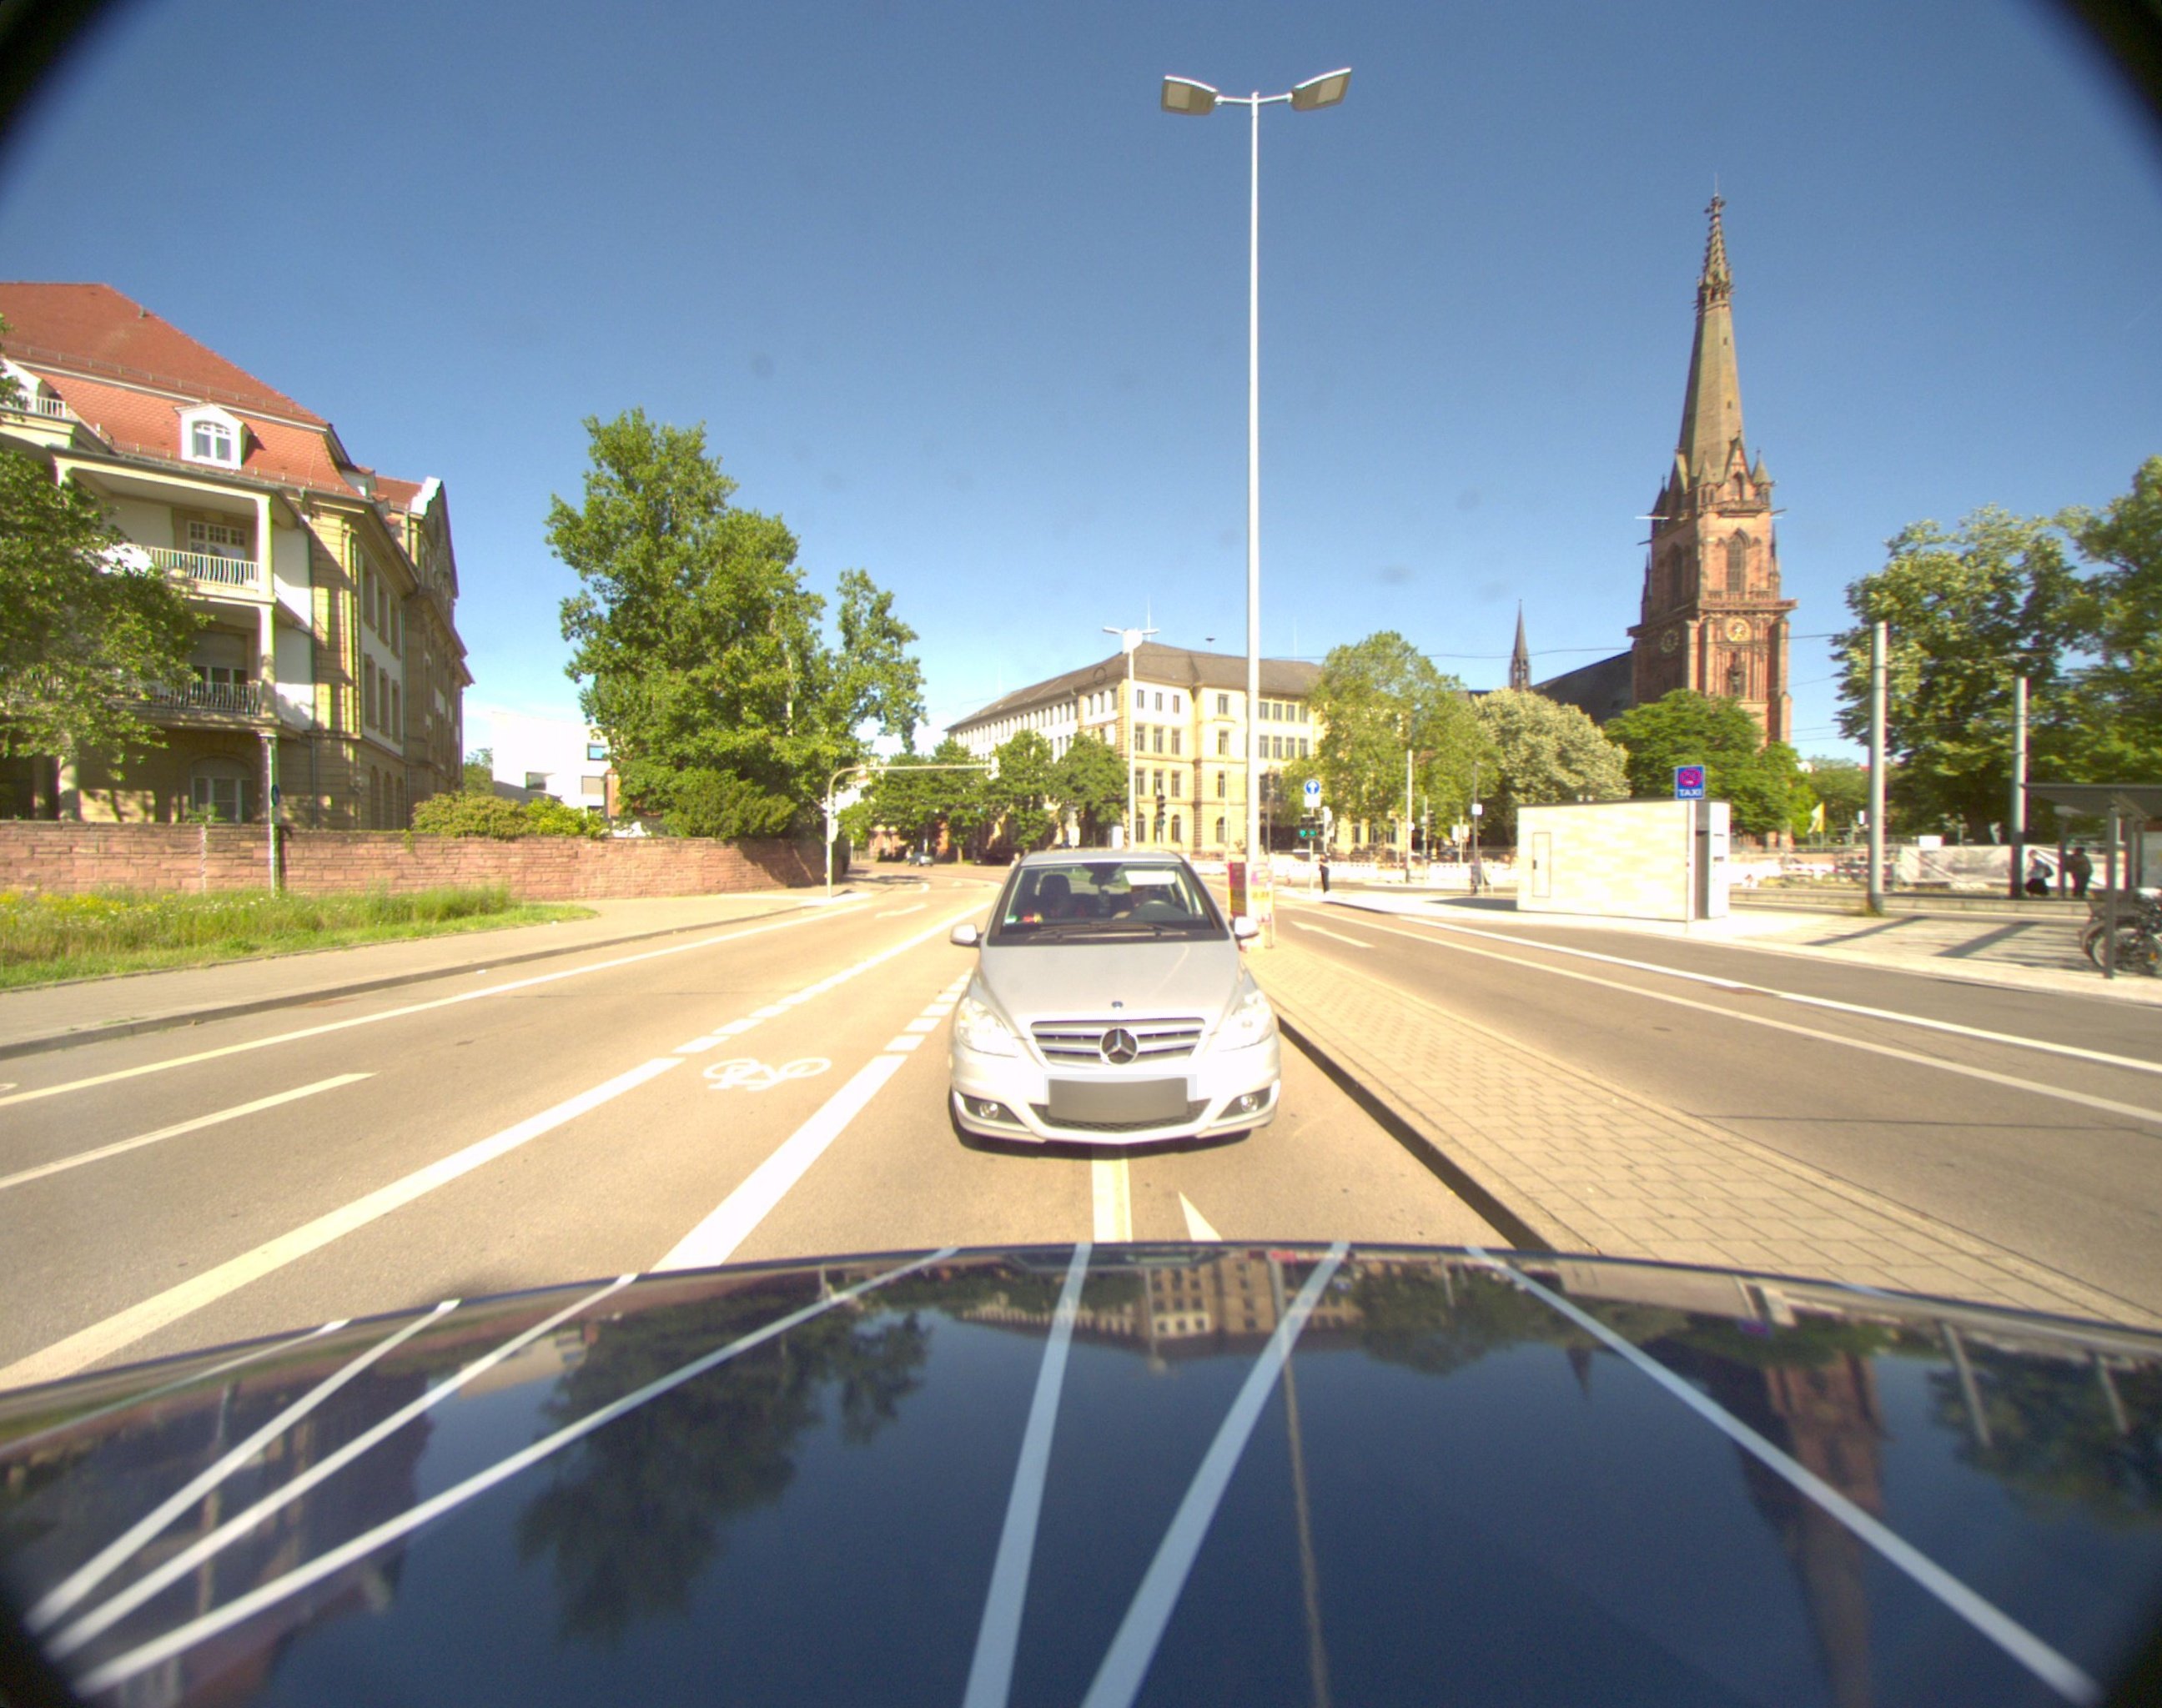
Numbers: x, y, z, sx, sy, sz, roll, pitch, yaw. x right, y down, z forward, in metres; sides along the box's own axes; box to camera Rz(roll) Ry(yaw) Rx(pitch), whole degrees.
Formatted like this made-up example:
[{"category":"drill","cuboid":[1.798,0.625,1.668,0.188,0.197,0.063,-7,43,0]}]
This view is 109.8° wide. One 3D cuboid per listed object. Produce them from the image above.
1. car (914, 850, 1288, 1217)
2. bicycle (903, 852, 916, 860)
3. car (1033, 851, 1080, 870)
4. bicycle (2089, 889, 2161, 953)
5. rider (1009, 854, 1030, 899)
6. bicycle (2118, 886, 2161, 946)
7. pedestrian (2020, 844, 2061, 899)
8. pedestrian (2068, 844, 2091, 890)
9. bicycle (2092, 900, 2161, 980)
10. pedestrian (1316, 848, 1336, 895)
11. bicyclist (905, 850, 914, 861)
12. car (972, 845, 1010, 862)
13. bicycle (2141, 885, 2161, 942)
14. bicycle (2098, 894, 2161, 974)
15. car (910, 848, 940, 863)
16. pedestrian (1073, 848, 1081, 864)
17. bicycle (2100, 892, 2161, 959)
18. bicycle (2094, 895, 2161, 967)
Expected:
[{"category":"car","cuboid":[0.063,0.824,5.494,1.706,1.657,3.913,-1,1,-1]},{"category":"bicycle","cuboid":[-22.266,0.256,98.765,1.830,0.985,0.735,0,1,44]},{"category":"car","cuboid":[-2.144,0.512,64.141,1.798,1.490,4.563,1,1,-34]},{"category":"bicycle","cuboid":[17.914,1.124,12.436,0.458,1.003,1.667,-1,1,-33]},{"category":"rider","cuboid":[-2.235,0.813,27.762,0.658,1.610,0.989,-1,1,1]},{"category":"bicycle","cuboid":[19.127,1.095,12.957,0.458,1.003,1.667,-1,1,-33]},{"category":"pedestrian","cuboid":[31.920,0.565,25.268,0.980,1.769,0.801,-1,1,-37]},{"category":"pedestrian","cuboid":[37.570,0.494,28.587,0.404,1.711,0.419,1,1,38]},{"category":"bicycle","cuboid":[14.699,1.168,9.973,0.458,1.003,1.667,-1,1,-33]},{"category":"pedestrian","cuboid":[9.622,0.674,29.858,0.693,1.844,0.679,0,1,12]},{"category":"bicyclist","cuboid":[-22.288,0.183,98.786,0.893,1.377,0.735,1,1,44]},{"category":"car","cuboid":[-10.732,-0.039,90.768,1.994,2.002,4.721,0,1,32]},{"category":"bicycle","cuboid":[19.894,1.072,13.208,0.458,1.003,1.667,-1,1,-33]},{"category":"bicycle","cuboid":[15.201,1.120,10.288,0.458,1.055,1.667,-1,1,-33]},{"category":"car","cuboid":[-17.786,0.139,86.329,1.865,1.533,4.229,1,1,-34]},{"category":"pedestrian","cuboid":[-0.405,0.227,79.253,0.677,1.714,0.588,-1,1,-22]},{"category":"bicycle","cuboid":[17.260,1.144,11.663,0.458,1.003,1.899,-1,1,-33]},{"category":"bicycle","cuboid":[16.073,1.140,10.984,0.458,1.003,1.667,-1,1,-33]}]
